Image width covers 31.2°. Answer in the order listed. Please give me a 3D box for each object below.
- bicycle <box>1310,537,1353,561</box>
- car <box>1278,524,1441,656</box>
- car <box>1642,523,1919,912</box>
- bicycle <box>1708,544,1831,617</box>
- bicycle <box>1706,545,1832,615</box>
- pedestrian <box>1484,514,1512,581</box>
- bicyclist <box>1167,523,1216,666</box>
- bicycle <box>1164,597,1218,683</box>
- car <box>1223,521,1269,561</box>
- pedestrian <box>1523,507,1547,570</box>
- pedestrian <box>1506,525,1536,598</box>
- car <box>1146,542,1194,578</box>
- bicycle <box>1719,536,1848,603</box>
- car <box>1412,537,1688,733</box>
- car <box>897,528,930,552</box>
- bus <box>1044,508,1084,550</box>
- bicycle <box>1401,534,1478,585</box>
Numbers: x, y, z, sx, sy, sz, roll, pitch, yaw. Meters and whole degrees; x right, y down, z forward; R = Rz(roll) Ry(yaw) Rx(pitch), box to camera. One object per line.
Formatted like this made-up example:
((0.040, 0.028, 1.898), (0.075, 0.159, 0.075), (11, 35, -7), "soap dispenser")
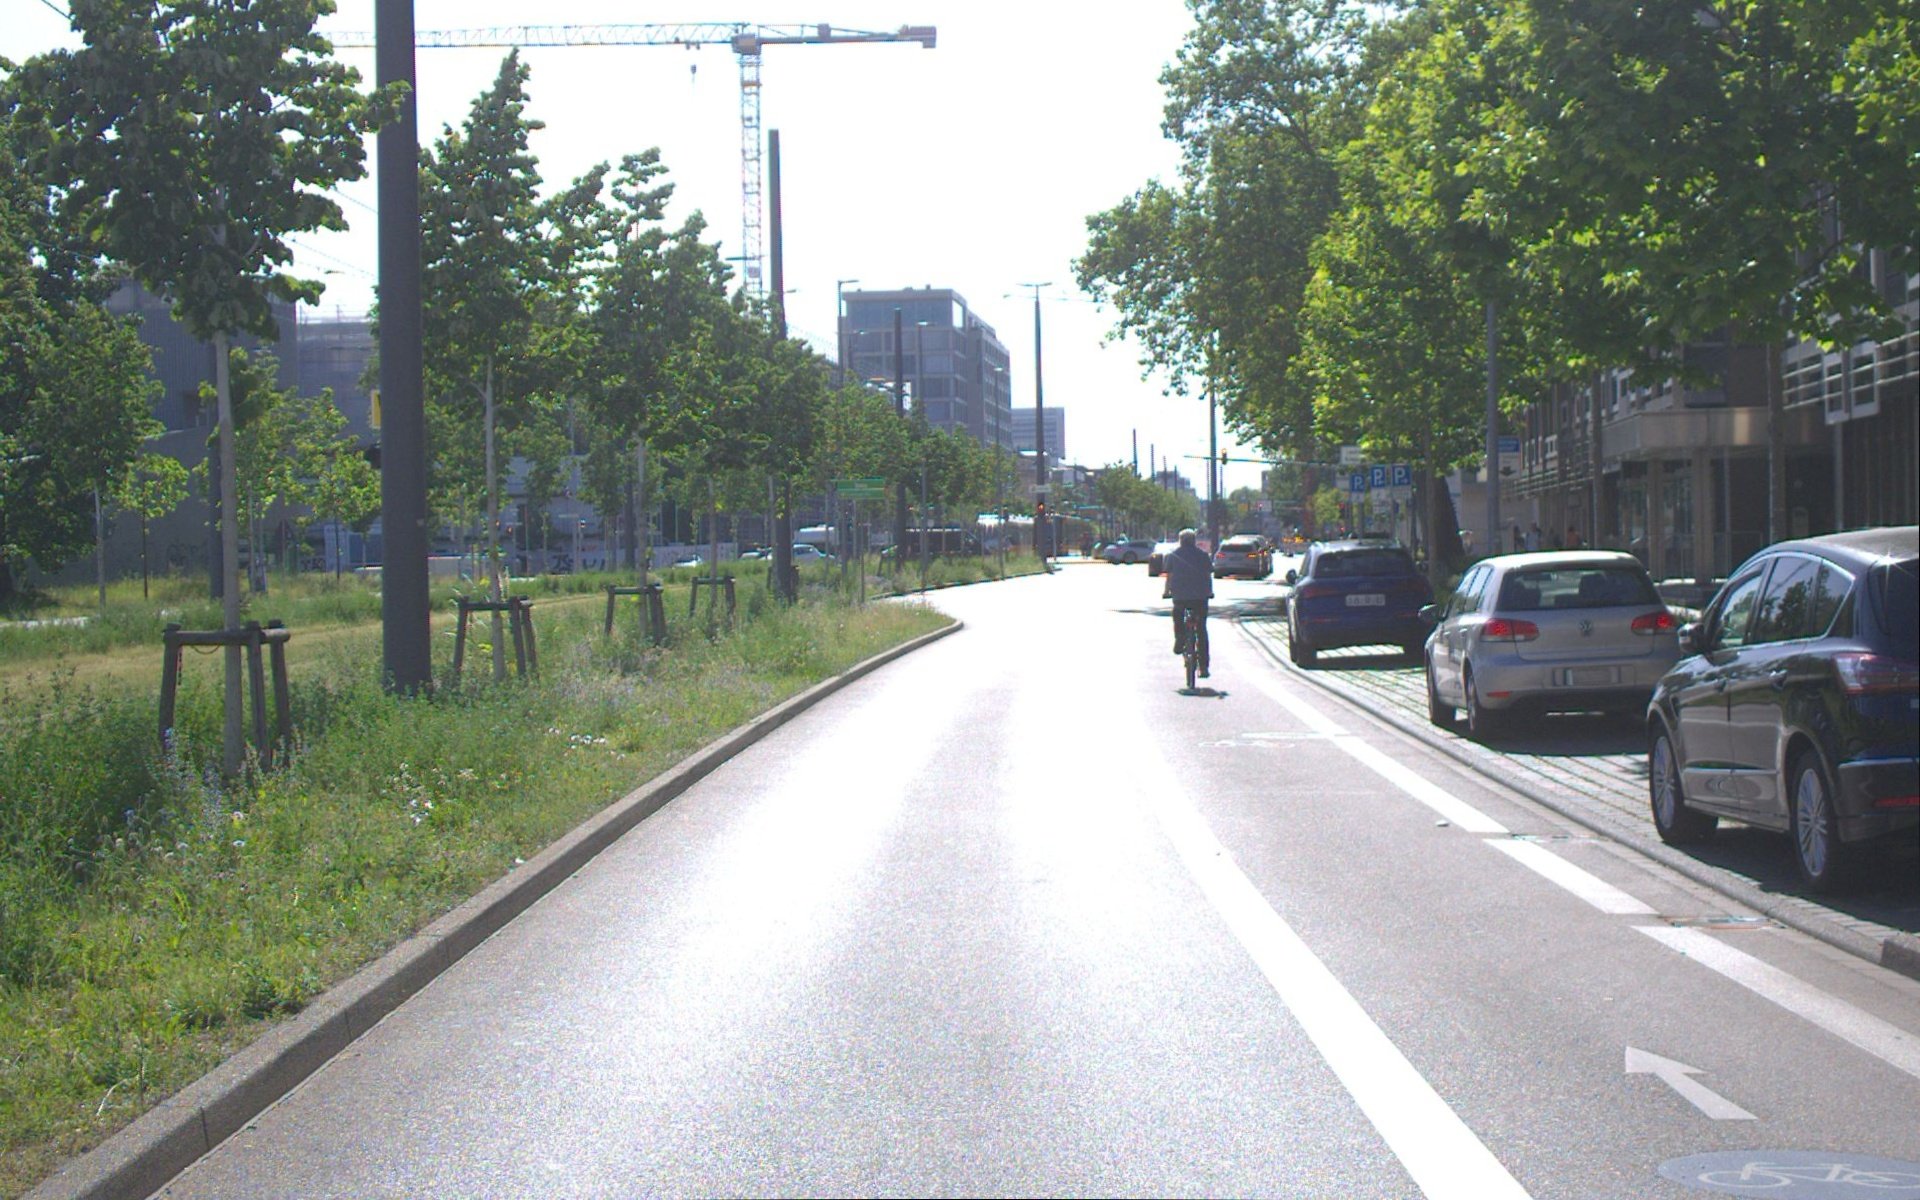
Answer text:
((15.460, -2.119, 143.141), (1.693, 0.954, 0.478), (-2, 1, 2), "bicycle")
((5.461, -0.186, 47.487), (1.849, 1.651, 4.848), (-2, 1, 3), "car")
((4.707, 0.450, 16.914), (1.747, 1.653, 4.470), (-1, 1, -1), "car")
((13.156, -0.322, 55.907), (1.858, 1.094, 0.426), (-3, 1, 7), "bicycle")
((12.793, -0.313, 54.378), (1.858, 1.007, 0.426), (-3, 1, 7), "bicycle")
((11.979, -1.167, 76.522), (0.511, 1.469, 0.736), (-2, 1, 5), "pedestrian")
((2.629, -0.067, 39.021), (0.512, 1.595, 0.536), (-1, 1, 1), "bicyclist")
((2.619, 0.441, 39.105), (0.497, 0.902, 2.197), (1, 1, 1), "bicycle")
((11.971, -2.477, 143.699), (1.722, 1.612, 4.185), (0, 1, 7), "car")
((15.773, -1.699, 94.364), (0.511, 1.695, 0.774), (-3, 1, 5), "pedestrian")
((13.439, -0.929, 82.373), (0.647, 1.722, 0.803), (0, 1, 5), "pedestrian")
((9.036, -1.732, 147.646), (1.912, 1.481, 4.009), (-1, 1, 5), "car")
((12.732, -0.475, 53.161), (1.858, 0.935, 0.426), (-3, 1, 7), "bicycle")
((4.911, 0.237, 29.095), (1.618, 1.460, 4.155), (-2, 1, 1), "car")
((-2.403, -3.145, 180.001), (1.376, 1.174, 3.220), (1, 1, 5), "car")
((7.672, -5.191, 253.025), (2.628, 2.949, 9.898), (1, 1, 3), "bus")
((12.874, -1.096, 92.327), (1.937, 1.232, 0.579), (-4, 1, 3), "bicycle")
